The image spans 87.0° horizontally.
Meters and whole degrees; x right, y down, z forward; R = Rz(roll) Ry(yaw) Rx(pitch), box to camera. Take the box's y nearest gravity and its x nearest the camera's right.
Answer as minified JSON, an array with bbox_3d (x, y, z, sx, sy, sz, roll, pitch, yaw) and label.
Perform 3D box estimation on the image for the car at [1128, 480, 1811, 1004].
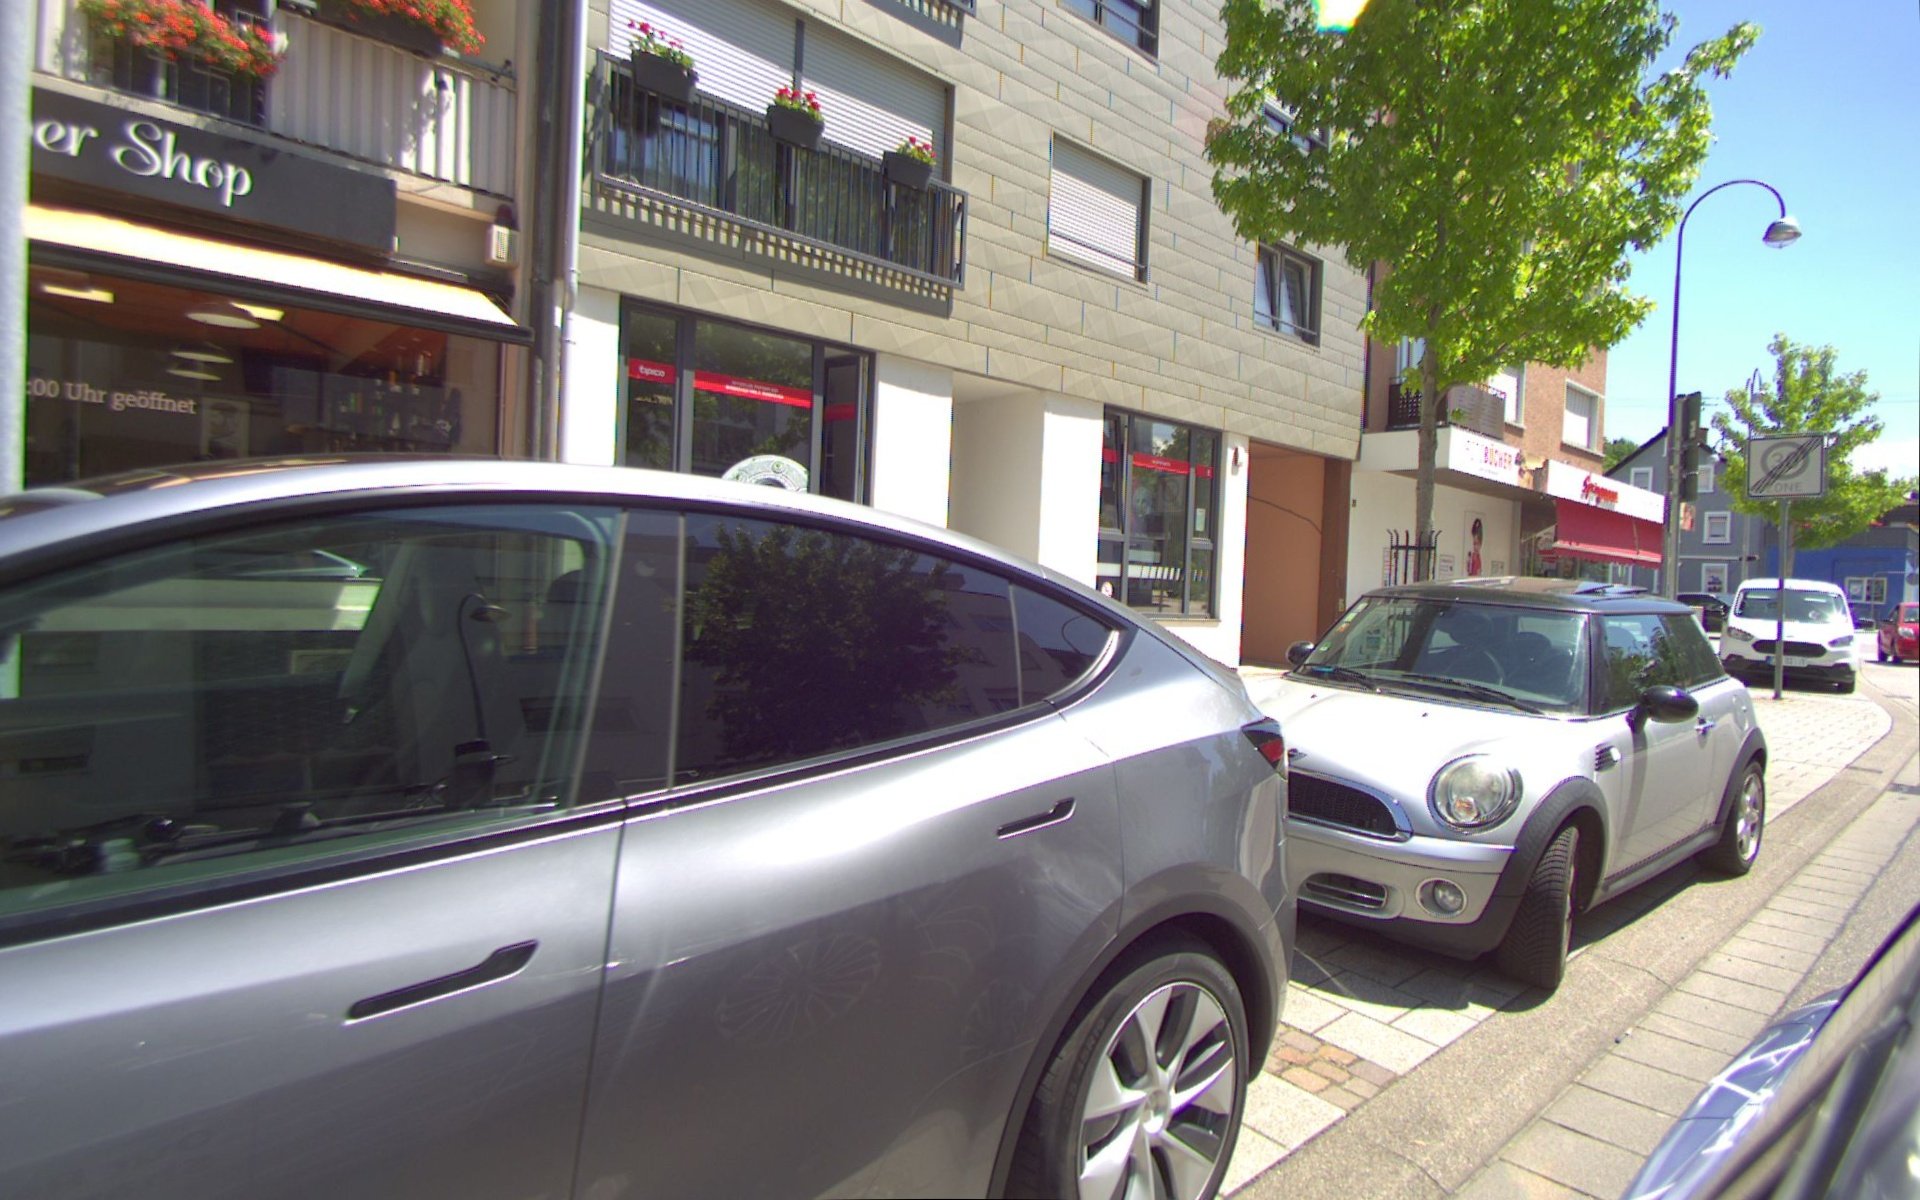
[{"bbox_3d":[2.675,0.397,4.904,3.773,1.578,1.626,0,2,-41],"label":"car"}]

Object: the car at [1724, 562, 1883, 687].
[{"bbox_3d":[13.774,0.325,16.659,1.745,1.745,3.855,4,3,39],"label":"car"}]

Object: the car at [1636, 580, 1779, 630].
[{"bbox_3d":[28.270,0.182,38.353,1.772,1.584,3.996,4,1,-40],"label":"car"}]

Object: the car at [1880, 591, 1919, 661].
[{"bbox_3d":[23.533,0.567,24.119,1.822,1.552,3.951,0,1,34],"label":"car"}]

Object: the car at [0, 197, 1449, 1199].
[{"bbox_3d":[-1.053,0.479,1.848,4.623,1.726,1.768,0,3,-41],"label":"car"}]

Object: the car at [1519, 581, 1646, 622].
[{"bbox_3d":[27.886,0.032,45.449,1.966,1.709,4.519,0,2,-42],"label":"car"}]
